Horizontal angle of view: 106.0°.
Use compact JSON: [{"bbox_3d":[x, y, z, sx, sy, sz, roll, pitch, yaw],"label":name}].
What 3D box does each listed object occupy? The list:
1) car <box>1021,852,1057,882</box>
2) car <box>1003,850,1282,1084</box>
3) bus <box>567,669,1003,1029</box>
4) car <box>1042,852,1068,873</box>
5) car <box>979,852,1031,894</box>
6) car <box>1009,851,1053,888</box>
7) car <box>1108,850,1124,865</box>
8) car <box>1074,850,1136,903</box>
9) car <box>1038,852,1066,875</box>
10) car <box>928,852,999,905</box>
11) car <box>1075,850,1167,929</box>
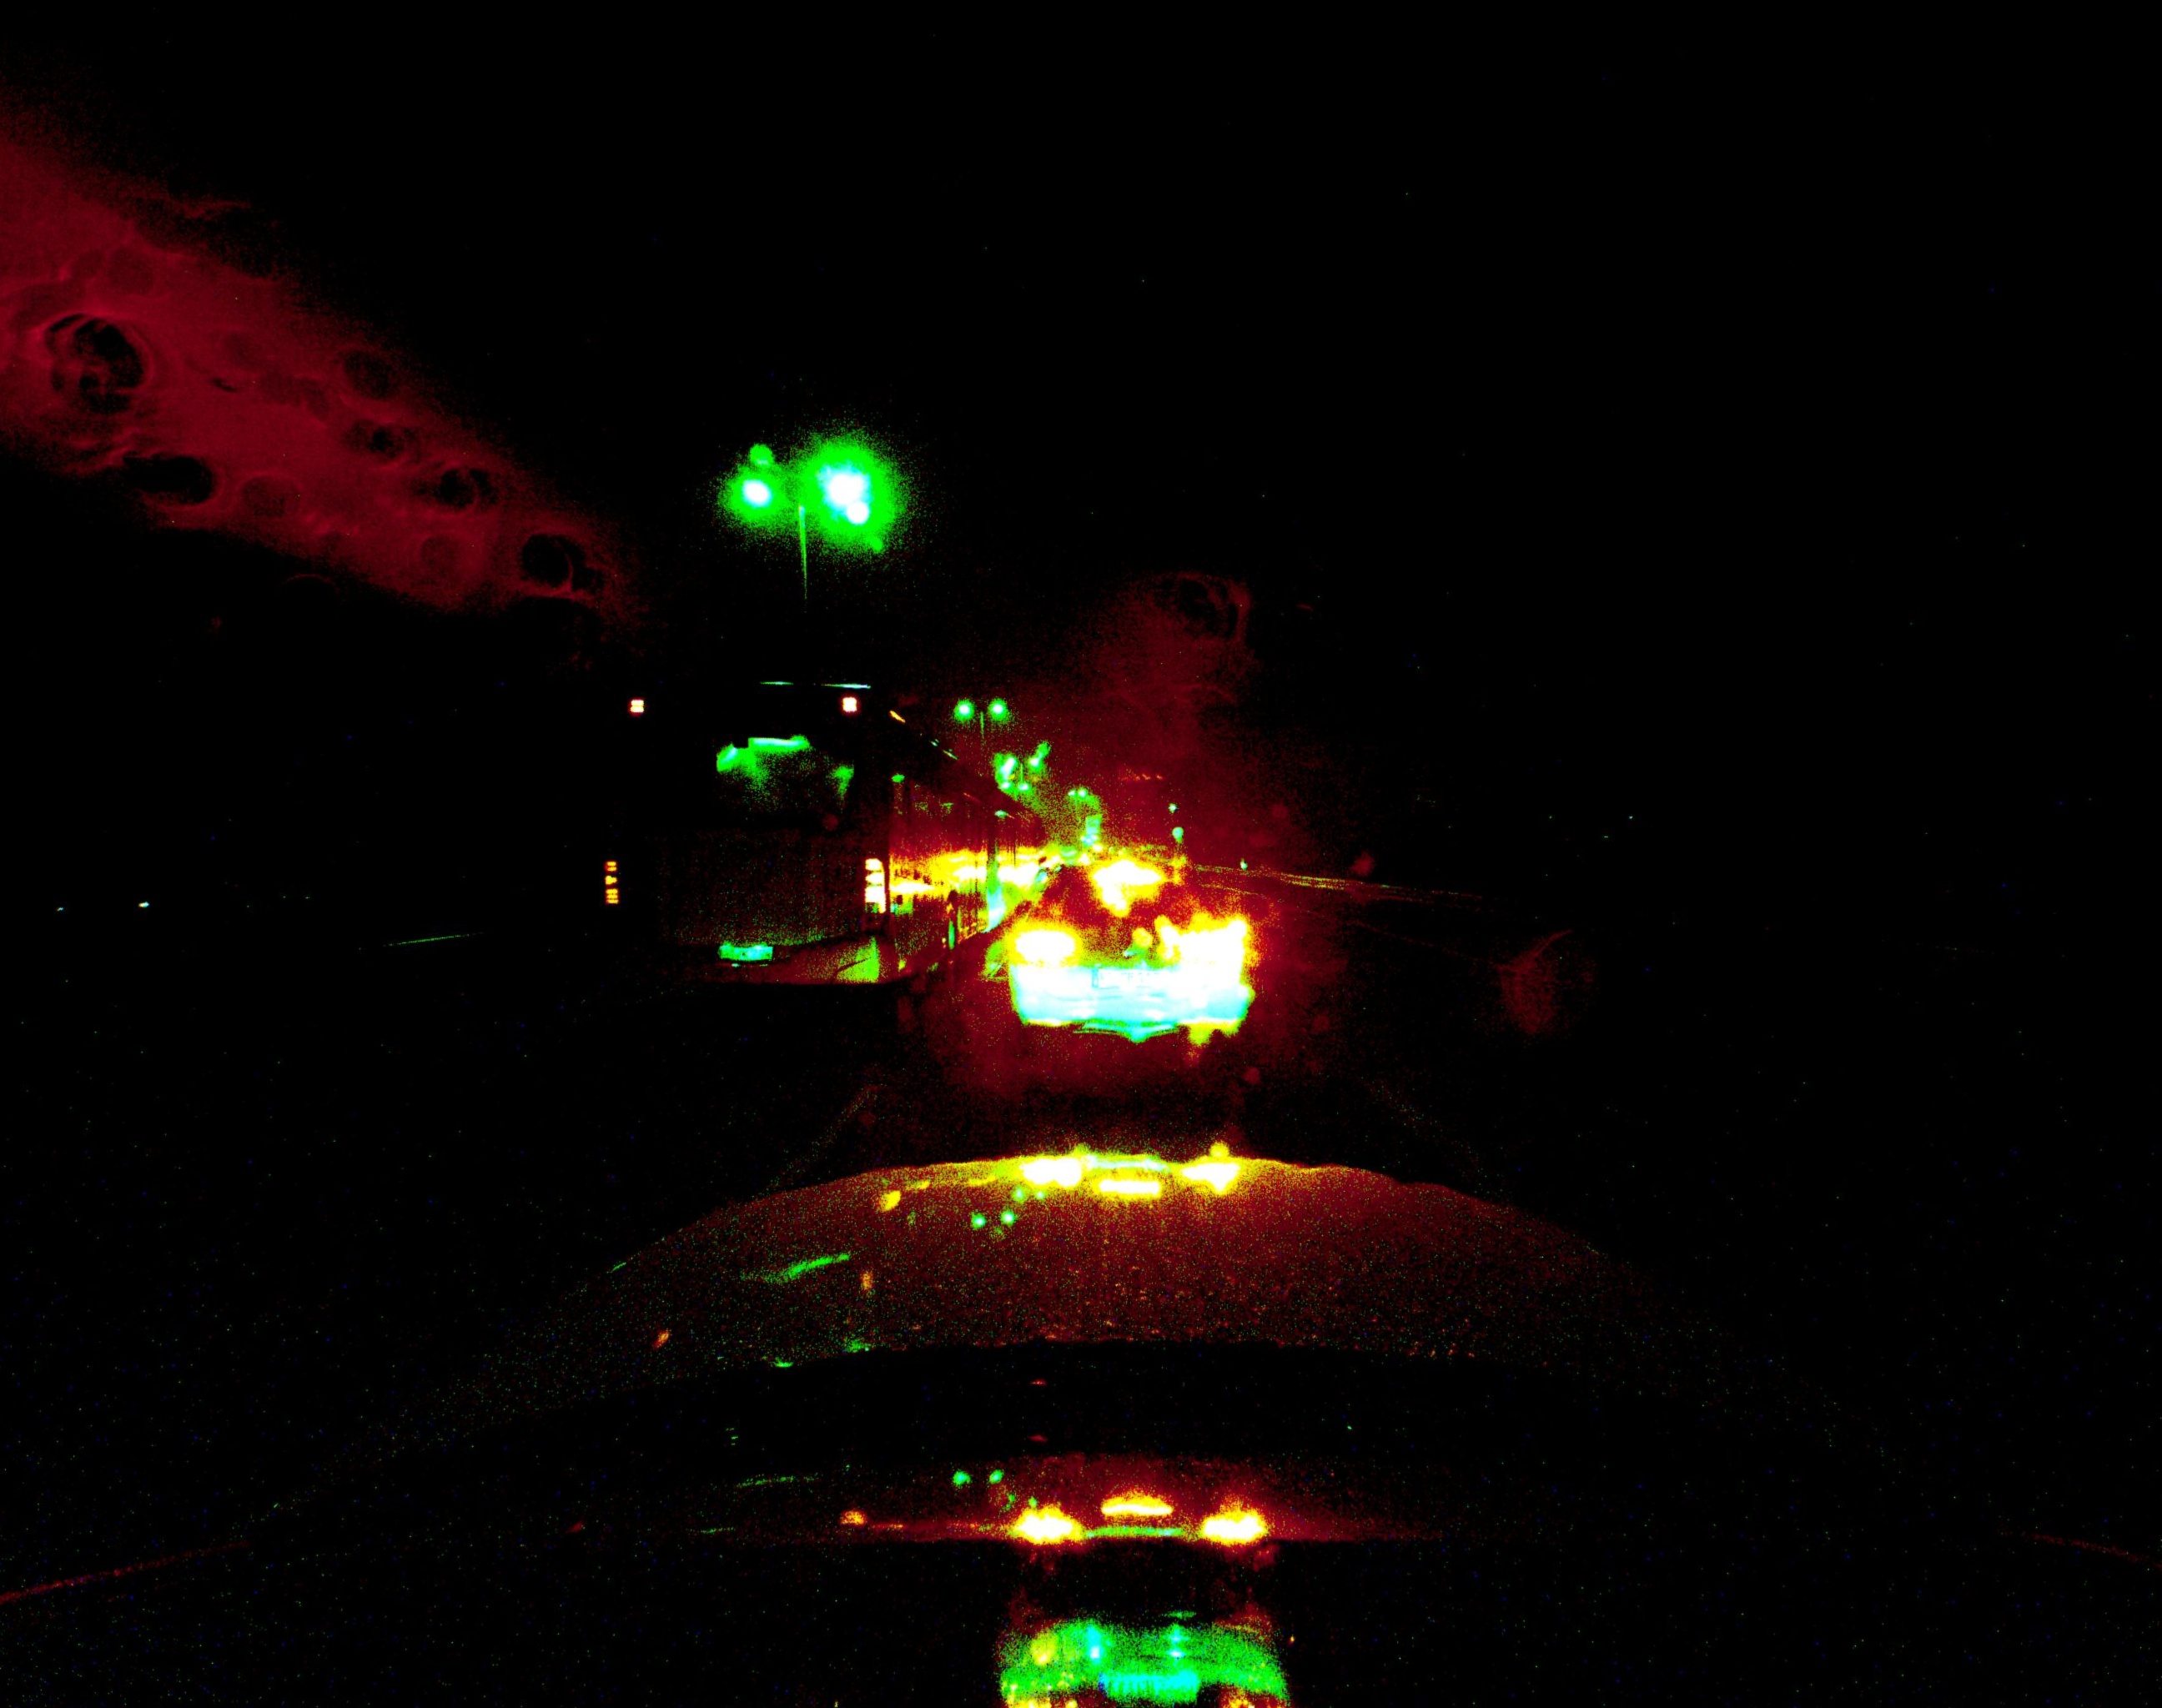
[{"bbox_3d":[-2.254,0.662,44.669,1.774,1.543,3.874,-1,0,0],"label":"car"},{"bbox_3d":[0.298,0.727,7.610,1.817,1.484,4.563,-1,0,-3],"label":"car"},{"bbox_3d":[-2.936,-0.057,11.289,2.806,3.024,8.686,-1,0,0],"label":"bus"},{"bbox_3d":[-1.963,0.640,62.061,1.773,1.543,3.876,-1,0,1],"label":"car"},{"bbox_3d":[-2.956,0.699,32.382,1.775,1.543,3.872,-1,0,-2],"label":"car"},{"bbox_3d":[-2.214,0.667,36.934,1.774,1.543,3.873,-1,0,-1],"label":"car"},{"bbox_3d":[4.324,0.418,101.771,1.945,1.882,4.001,0,-1,2],"label":"car"},{"bbox_3d":[0.704,0.664,25.955,1.735,1.565,3.774,-1,0,-2],"label":"car"},{"bbox_3d":[-1.976,0.623,55.711,1.775,1.543,3.872,-1,0,-2],"label":"car"},{"bbox_3d":[-3.650,0.708,25.883,1.775,1.543,3.872,-1,0,-2],"label":"car"},{"bbox_3d":[0.747,0.662,17.664,1.726,1.449,4.724,-1,0,0],"label":"car"}]
